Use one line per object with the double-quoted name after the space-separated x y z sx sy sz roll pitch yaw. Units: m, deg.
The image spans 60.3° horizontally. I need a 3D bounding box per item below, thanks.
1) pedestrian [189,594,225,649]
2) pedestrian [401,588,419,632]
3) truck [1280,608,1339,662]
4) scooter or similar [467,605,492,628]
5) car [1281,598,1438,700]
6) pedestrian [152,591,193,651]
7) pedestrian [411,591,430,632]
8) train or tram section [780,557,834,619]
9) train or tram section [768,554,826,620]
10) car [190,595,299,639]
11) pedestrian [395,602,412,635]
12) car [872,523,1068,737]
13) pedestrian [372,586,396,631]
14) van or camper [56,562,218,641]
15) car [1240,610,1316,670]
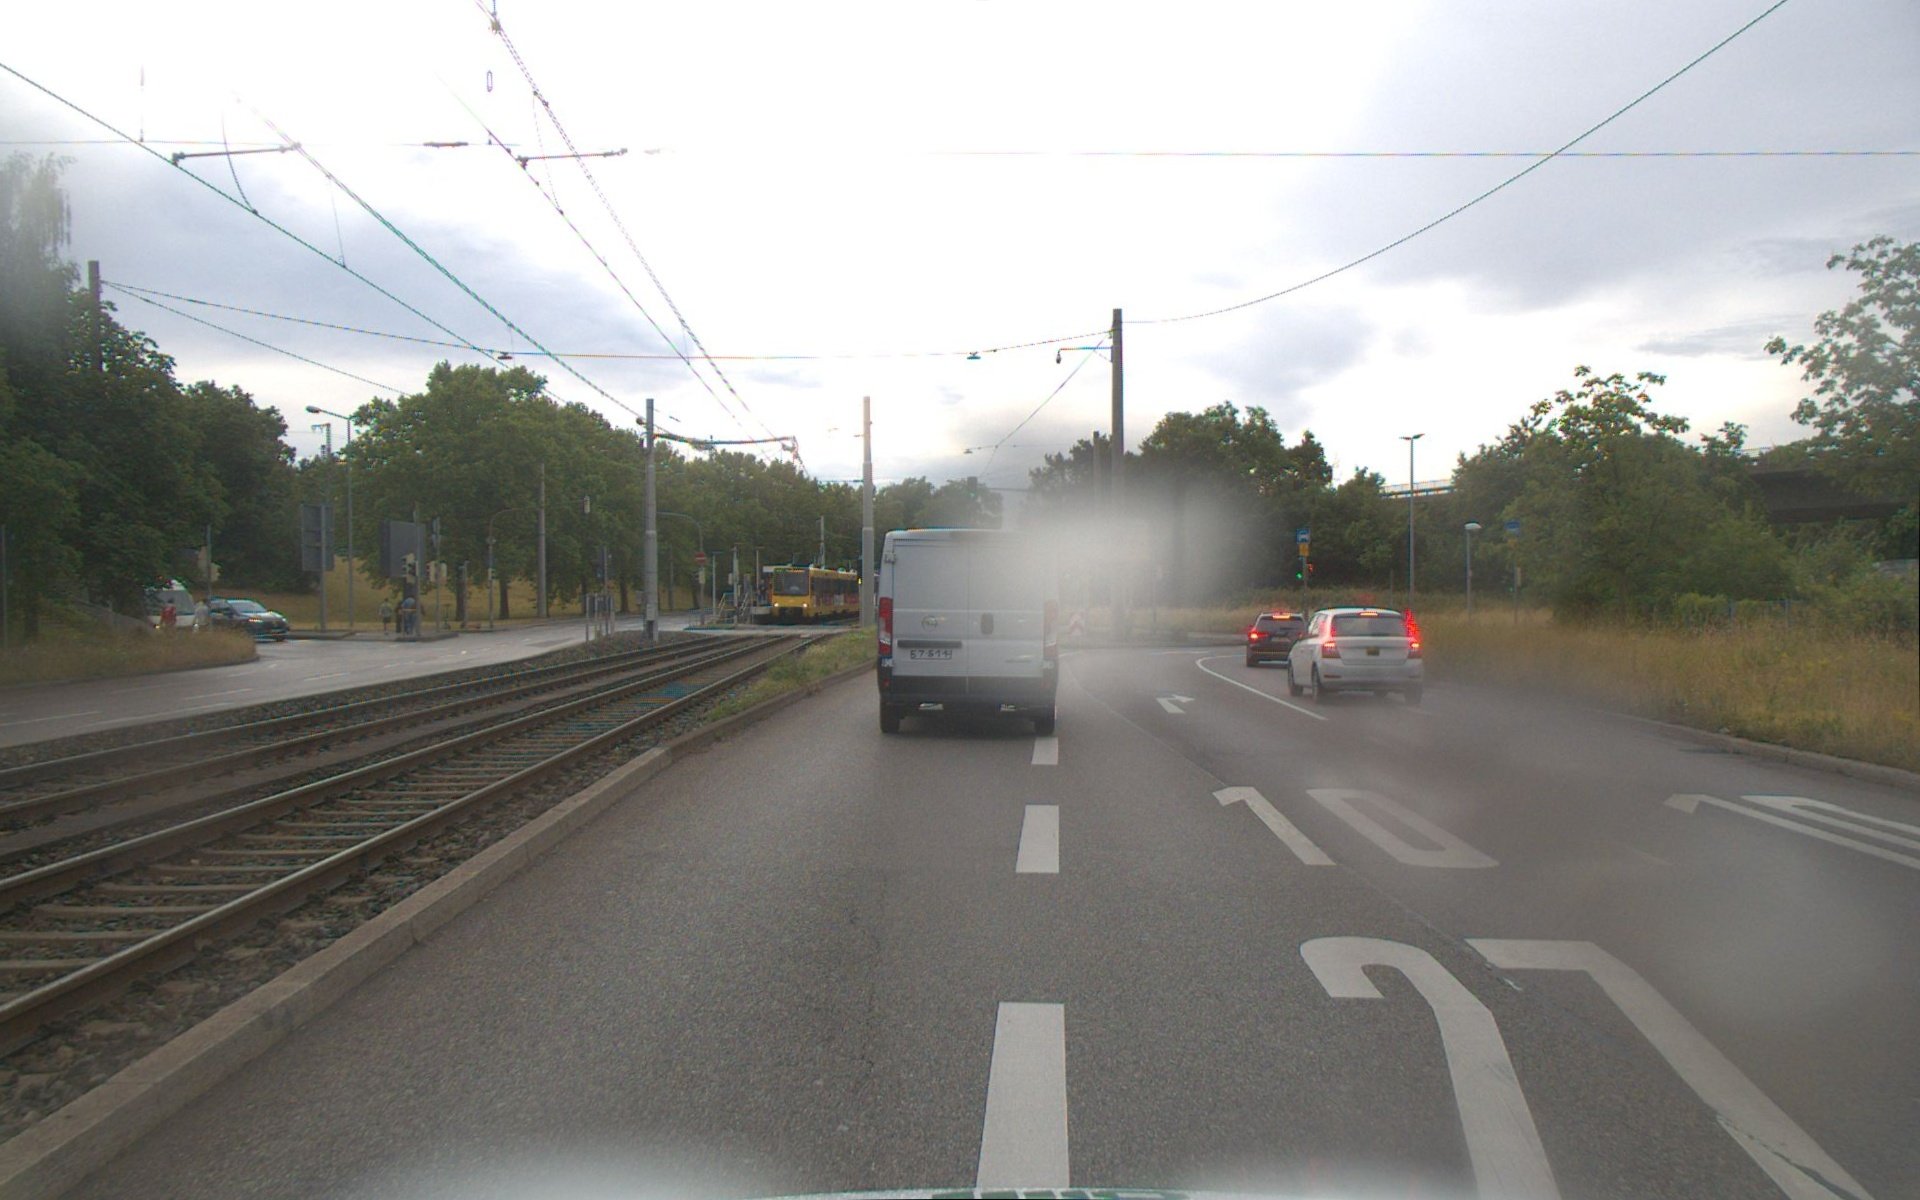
-26.070 0.740 57.260 0.621 1.900 0.952 -1 0 29 "pedestrian"
-24.758 0.449 74.480 0.485 1.990 0.722 2 0 2 "pedestrian"
12.933 1.264 61.371 1.951 1.822 4.418 -1 0 10 "truck"
-25.241 0.880 86.914 0.374 1.182 1.271 0 1 43 "scooter or similar"
6.365 0.737 26.708 1.710 1.483 3.672 1 0 1 "car"
-27.059 0.702 56.811 0.870 2.049 0.944 0 0 27 "pedestrian"
-24.245 0.498 74.304 0.496 1.818 0.832 2 0 3 "pedestrian"
-10.368 -0.798 112.822 2.868 4.001 7.005 2 0 0 "train or tram section"
-10.415 -0.800 106.421 2.868 4.001 7.005 2 0 0 "train or tram section"
-29.941 0.676 69.172 4.533 1.763 1.995 1 1 32 "car"
-25.607 0.831 76.125 0.485 1.499 0.722 2 0 0 "pedestrian"
0.049 0.299 20.156 2.048 2.235 5.060 1 0 -1 "car"
-26.379 0.373 75.794 0.870 2.049 0.864 0 0 -6 "pedestrian"
-32.873 0.030 65.977 7.220 3.019 2.484 0 1 33 "van or camper"
8.355 1.025 43.725 1.751 1.474 4.003 1 0 8 "car"
